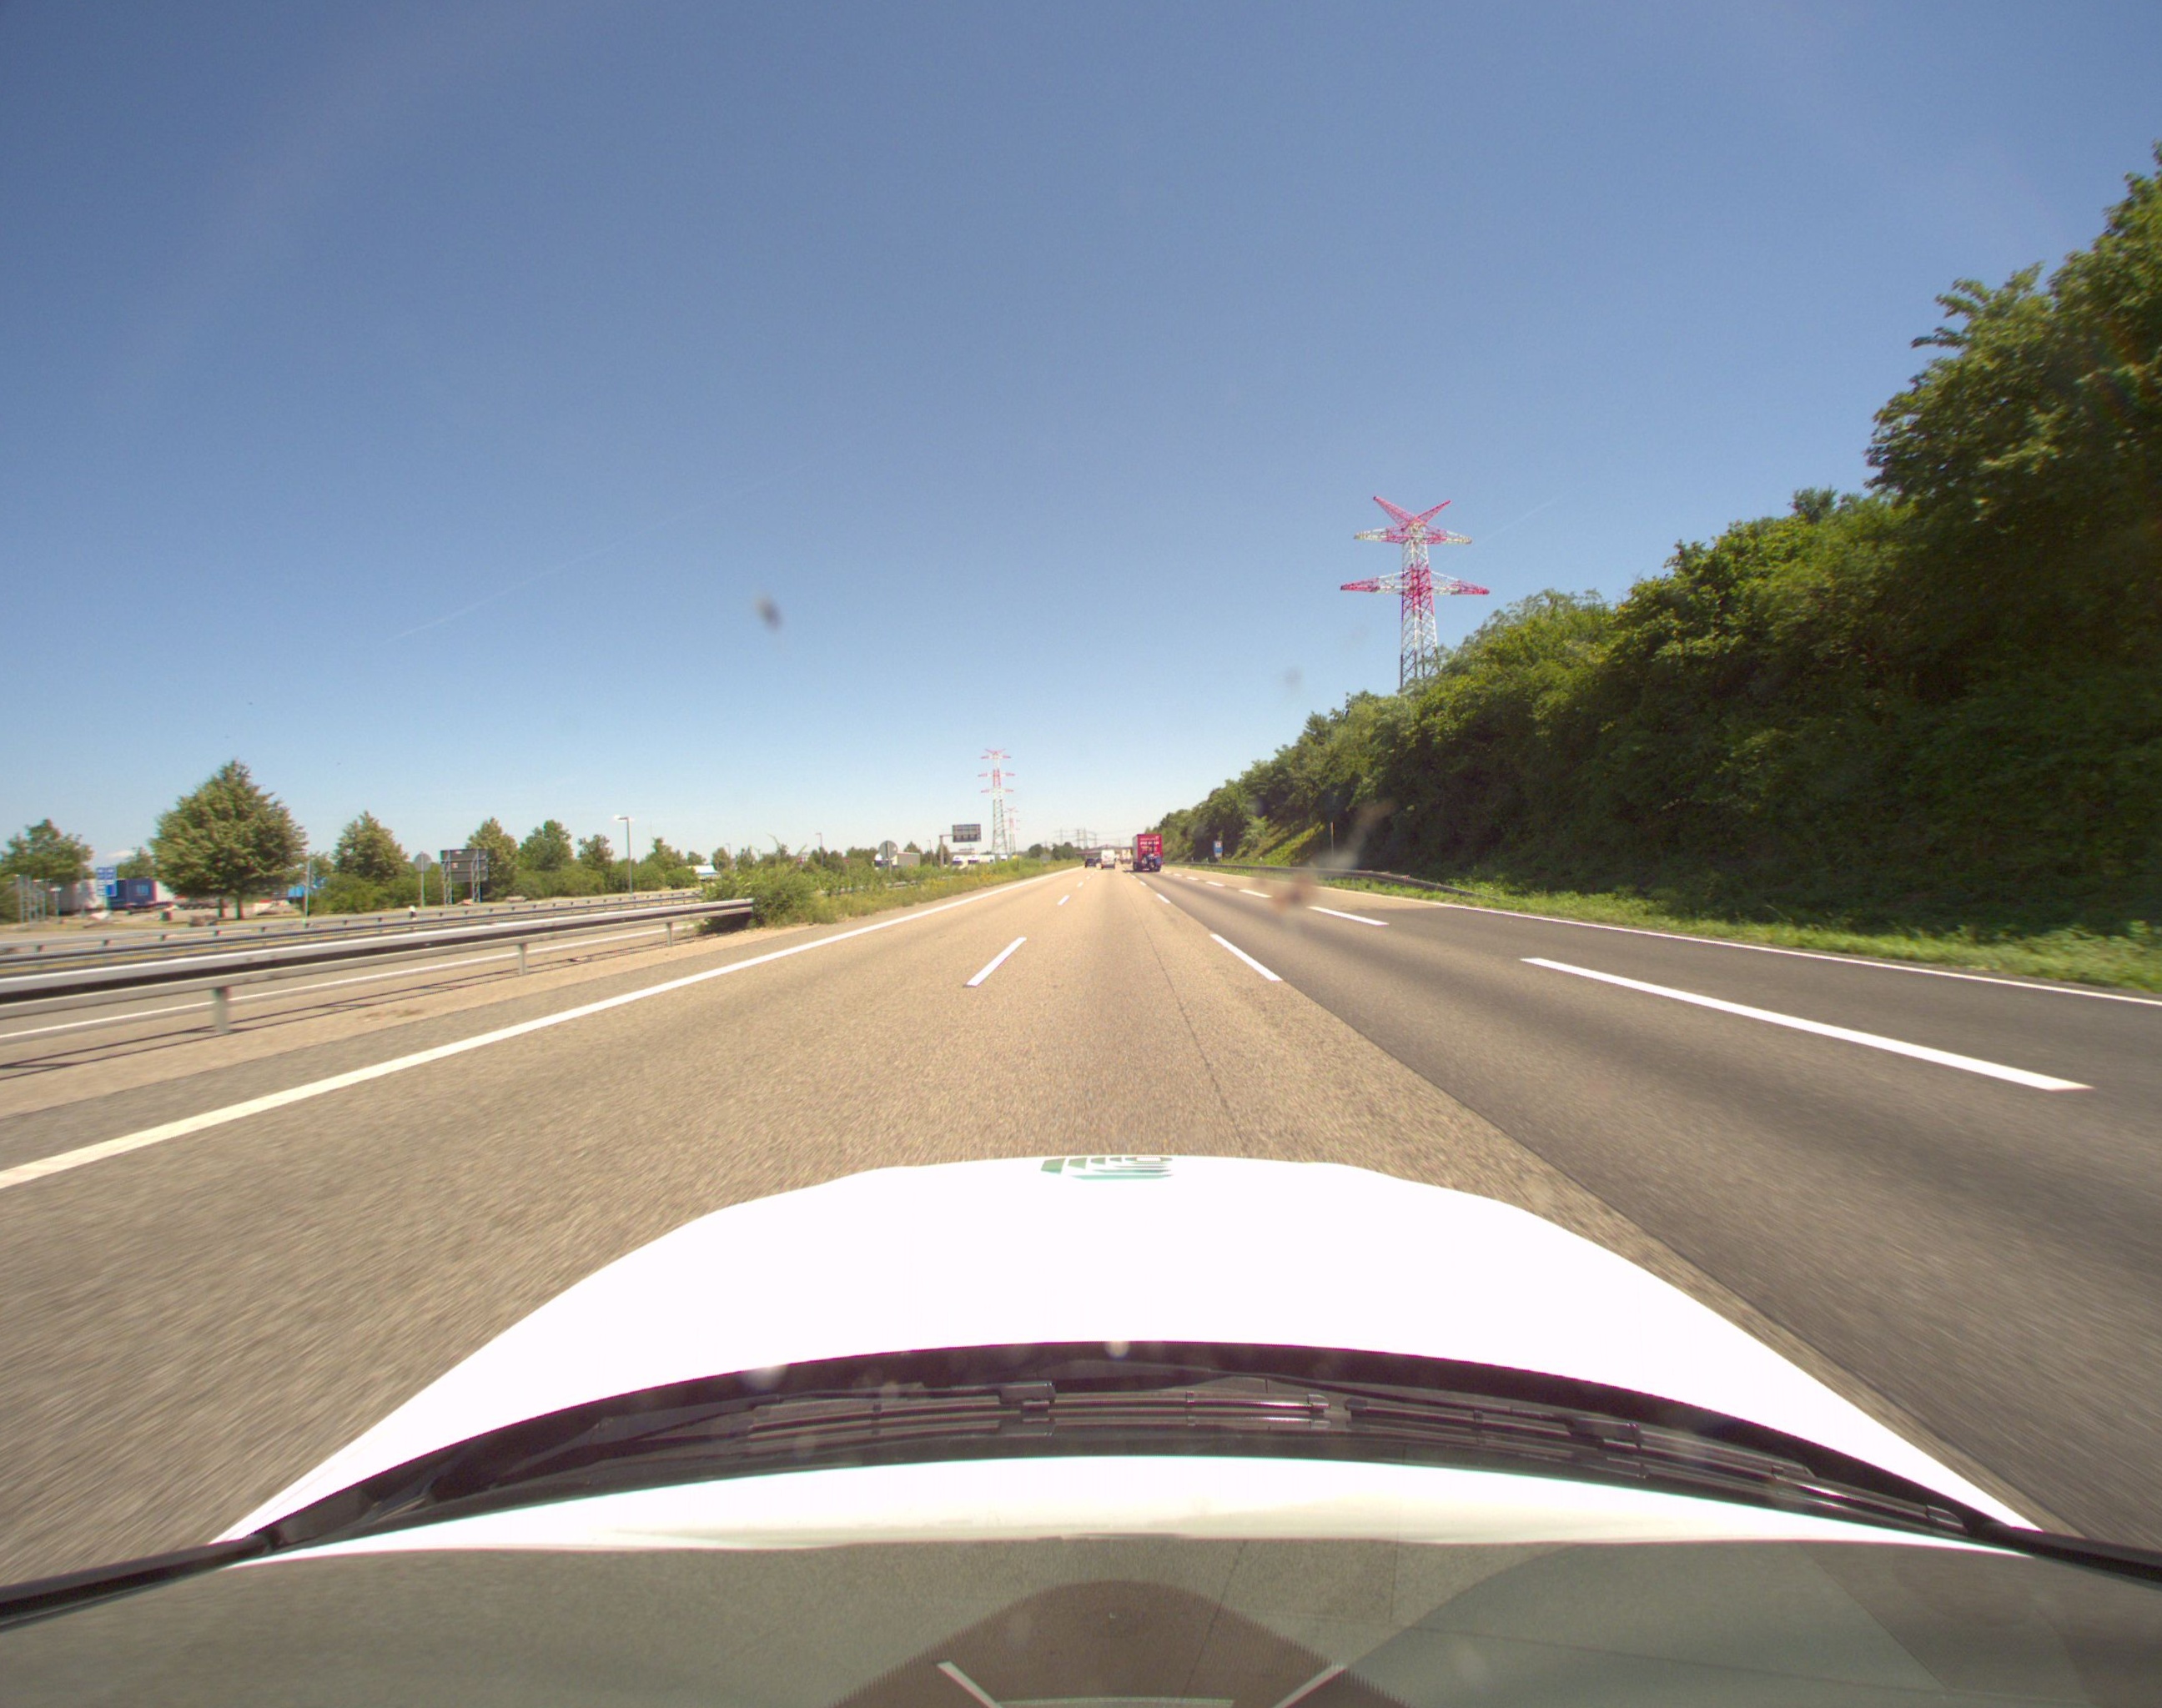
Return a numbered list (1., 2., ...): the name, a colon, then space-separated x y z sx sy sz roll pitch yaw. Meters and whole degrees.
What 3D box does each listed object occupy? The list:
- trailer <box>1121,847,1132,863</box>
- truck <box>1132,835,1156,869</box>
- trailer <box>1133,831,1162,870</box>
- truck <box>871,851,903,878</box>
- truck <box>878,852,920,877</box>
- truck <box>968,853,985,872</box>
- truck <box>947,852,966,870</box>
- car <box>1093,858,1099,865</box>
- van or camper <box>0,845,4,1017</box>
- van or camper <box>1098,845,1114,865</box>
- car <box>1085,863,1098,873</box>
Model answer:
1. trailer: 12.218 0.325 218.647 2.626 4.060 12.376 0 -1 3
2. truck: 7.431 -0.203 96.909 2.489 3.920 7.100 -1 -1 2
3. trailer: 7.179 -0.251 89.925 2.481 3.909 14.252 -1 -1 2
4. truck: -27.655 1.496 116.403 2.788 3.643 6.149 0 -1 2
5. truck: -27.397 1.536 123.208 2.788 3.643 13.612 0 0 2
6. truck: -23.498 1.985 183.258 2.571 4.188 7.939 -1 -1 2
7. truck: -29.809 1.618 195.660 3.083 4.152 8.320 0 -1 2
8. car: 4.667 2.326 256.737 1.964 2.012 4.199 0 -1 2
9. van or camper: -17.552 1.162 9.106 2.409 2.582 6.369 -2 -1 2
10. van or camper: 3.672 0.134 117.954 2.221 2.782 5.426 0 -1 2
11. car: 1.873 2.438 144.558 1.973 1.817 3.817 0 -1 4
